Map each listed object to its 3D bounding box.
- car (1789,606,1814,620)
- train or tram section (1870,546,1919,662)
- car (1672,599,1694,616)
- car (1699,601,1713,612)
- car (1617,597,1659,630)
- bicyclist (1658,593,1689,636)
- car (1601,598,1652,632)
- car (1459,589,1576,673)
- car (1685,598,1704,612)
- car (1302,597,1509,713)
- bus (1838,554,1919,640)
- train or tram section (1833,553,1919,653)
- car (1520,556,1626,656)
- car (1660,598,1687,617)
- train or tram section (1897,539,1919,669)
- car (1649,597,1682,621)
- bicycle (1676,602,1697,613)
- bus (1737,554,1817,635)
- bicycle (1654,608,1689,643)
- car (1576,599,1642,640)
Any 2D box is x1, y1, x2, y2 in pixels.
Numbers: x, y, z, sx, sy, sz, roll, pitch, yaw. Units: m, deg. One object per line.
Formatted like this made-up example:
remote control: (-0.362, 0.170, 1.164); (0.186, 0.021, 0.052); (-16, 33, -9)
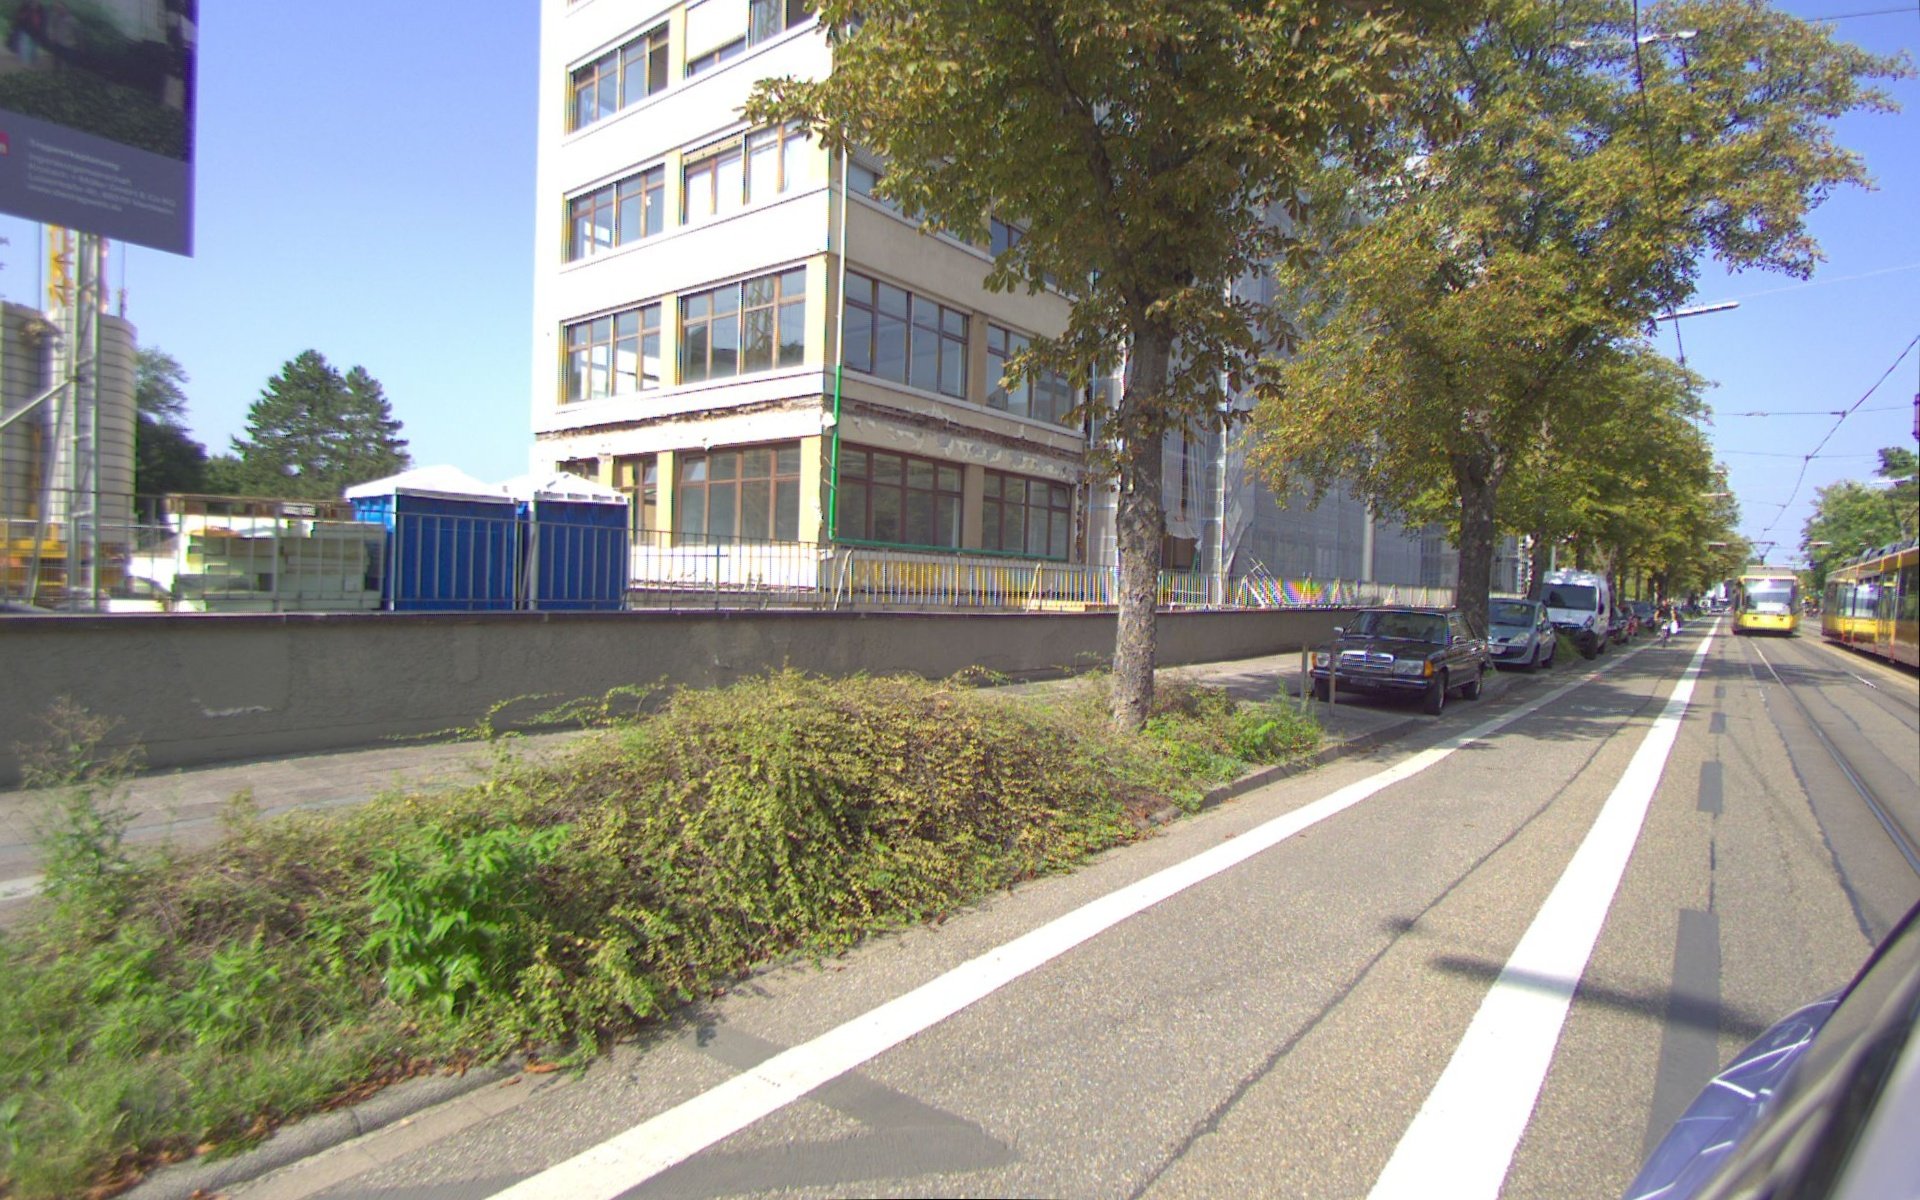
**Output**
car: (94.127, 1.412, 113.236); (1.825, 1.392, 4.452); (6, 4, 37)
train or tram section: (26.521, 0.118, 27.029); (2.723, 2.885, 6.454); (2, 2, 38)
car: (69.204, 0.691, 96.867); (1.636, 1.447, 3.937); (3, 2, 36)
car: (111.969, 0.977, 151.956); (1.558, 1.459, 3.519); (5, 3, 35)
car: (36.916, 0.730, 55.067); (1.748, 1.713, 4.339); (1, 0, 36)
bicyclist: (25.334, 0.496, 35.913); (0.786, 1.488, 1.100); (2, 1, 40)
car: (30.802, 0.660, 46.715); (1.614, 1.431, 3.945); (3, 2, 38)
car: (12.656, 0.652, 22.886); (1.662, 1.636, 3.823); (4, 2, 38)
car: (87.529, 0.631, 120.514); (1.737, 1.504, 4.378); (4, 2, 36)
car: (6.920, 0.705, 15.429); (1.751, 1.394, 4.654); (4, 3, 38)
bus: (44.951, -0.178, 49.723); (2.467, 3.836, 8.998); (2, 1, 40)
train or tram section: (33.148, 0.065, 35.637); (2.723, 2.930, 15.243); (2, 2, 38)
car: (18.501, 0.126, 30.424); (2.078, 2.583, 5.429); (6, 4, 36)
car: (58.098, 0.600, 82.408); (1.643, 1.446, 4.030); (4, 3, 37)
train or tram section: (23.435, 0.130, 23.041); (2.701, 2.892, 3.599); (2, 1, 38)
car: (50.720, 0.632, 72.748); (1.643, 1.529, 3.726); (4, 3, 38)
bicycle: (76.546, 0.756, 106.651); (1.765, 1.077, 0.786); (4, 2, 37)
bus: (42.120, -0.299, 52.122); (2.890, 3.841, 9.183); (2, 1, 40)
bicycle: (24.827, 0.866, 35.299); (0.786, 1.159, 2.272); (2, 1, 40)
car: (24.751, 0.677, 38.503); (1.614, 1.391, 4.760); (3, 2, 38)
